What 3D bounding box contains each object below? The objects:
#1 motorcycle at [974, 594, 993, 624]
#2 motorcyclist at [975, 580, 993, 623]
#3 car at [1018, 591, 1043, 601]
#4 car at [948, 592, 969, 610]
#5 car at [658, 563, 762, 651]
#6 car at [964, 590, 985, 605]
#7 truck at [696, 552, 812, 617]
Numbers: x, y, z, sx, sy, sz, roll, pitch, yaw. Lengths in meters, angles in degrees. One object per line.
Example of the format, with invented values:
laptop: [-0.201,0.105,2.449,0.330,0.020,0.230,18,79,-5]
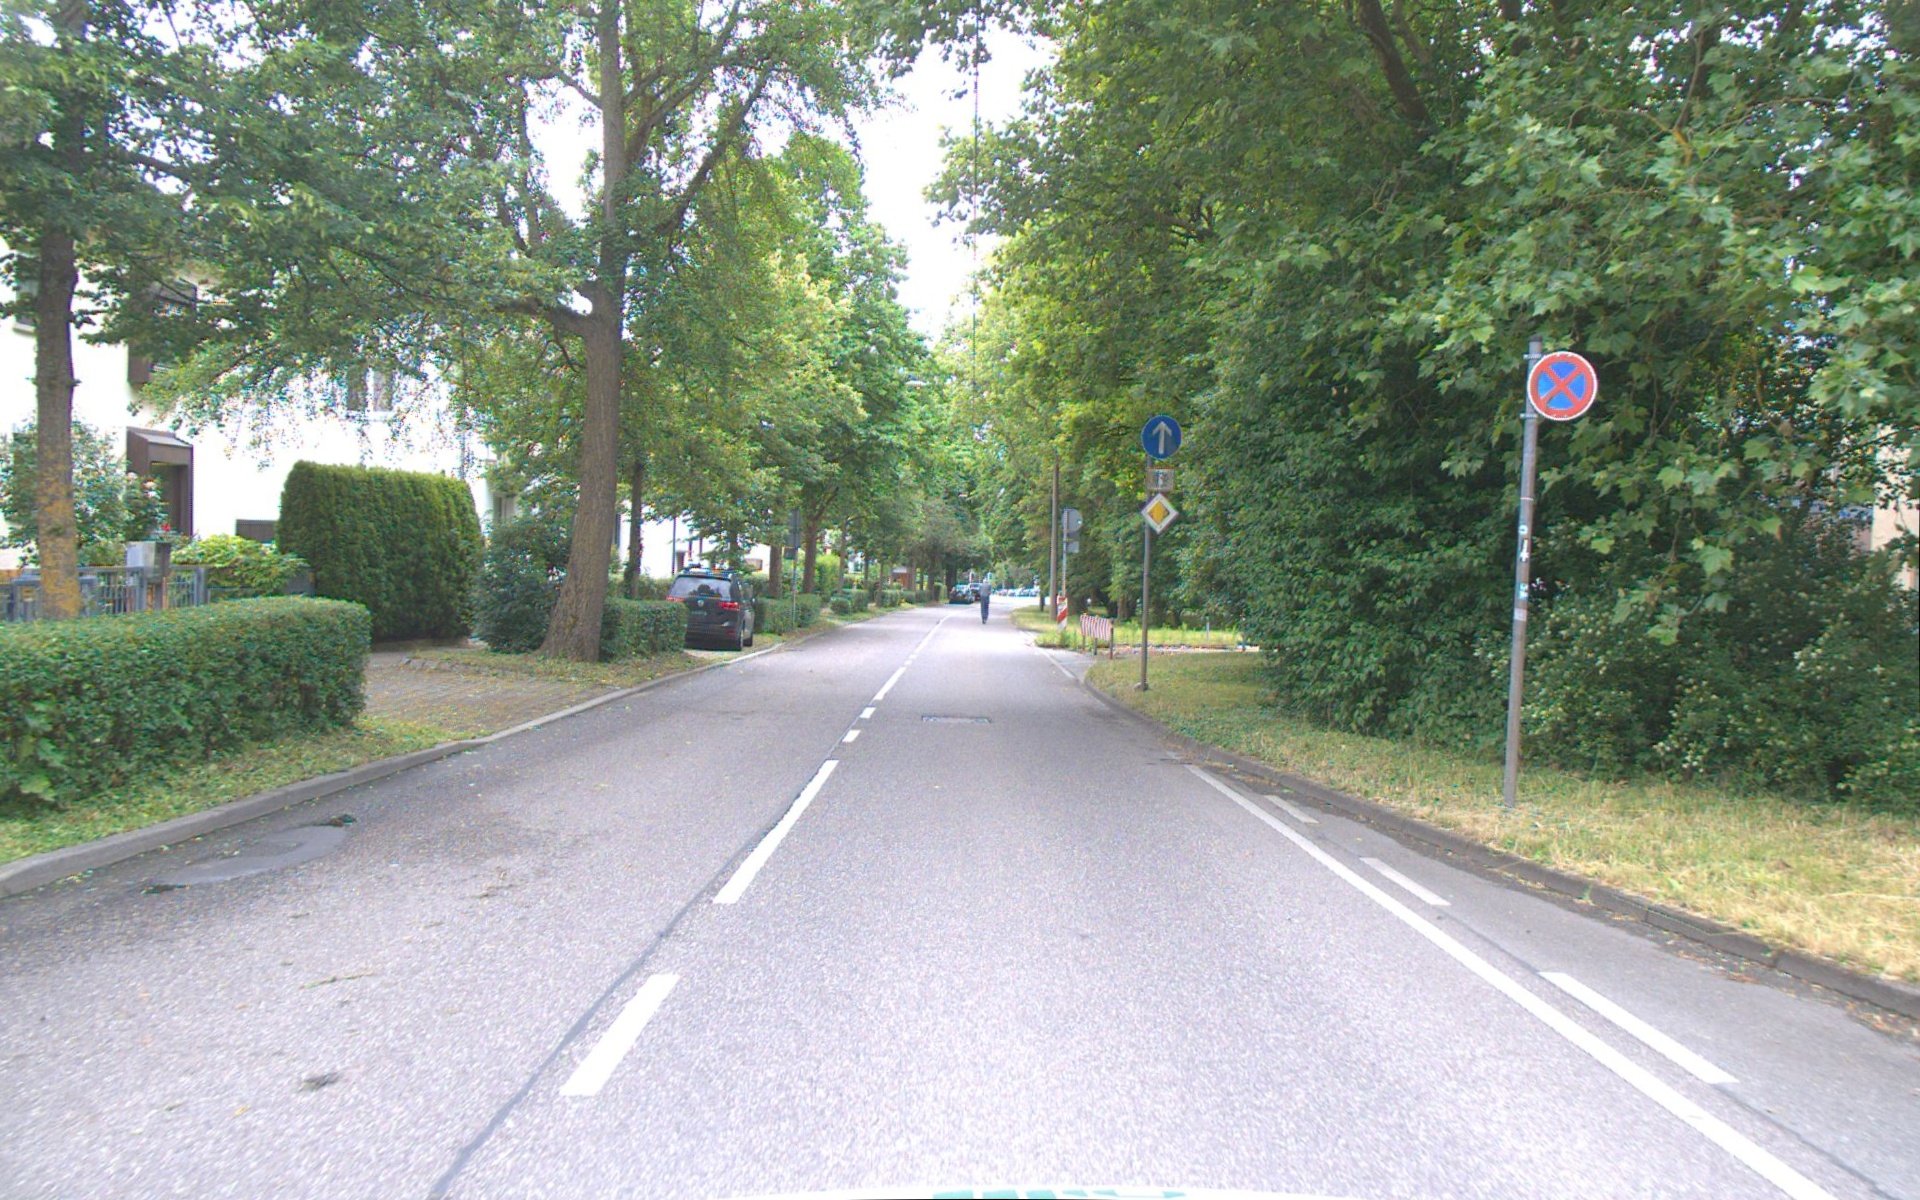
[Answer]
motorcycle: [0.996,0.403,70.761,0.658,1.238,1.274,3,0,5]
motorcyclist: [1.025,0.060,70.897,0.658,1.792,0.639,3,0,5]
car: [10.940,-0.660,256.606,3.905,1.537,1.800,1,0,1]
car: [-0.118,0.065,144.896,1.757,1.498,4.419,1,0,1]
car: [-5.513,0.128,36.974,1.788,1.784,4.451,2,0,-3]
car: [1.546,-0.262,175.695,1.852,1.435,4.556,1,-1,4]
truck: [-10.835,-0.786,87.459,5.677,3.185,2.518,2,0,0]
